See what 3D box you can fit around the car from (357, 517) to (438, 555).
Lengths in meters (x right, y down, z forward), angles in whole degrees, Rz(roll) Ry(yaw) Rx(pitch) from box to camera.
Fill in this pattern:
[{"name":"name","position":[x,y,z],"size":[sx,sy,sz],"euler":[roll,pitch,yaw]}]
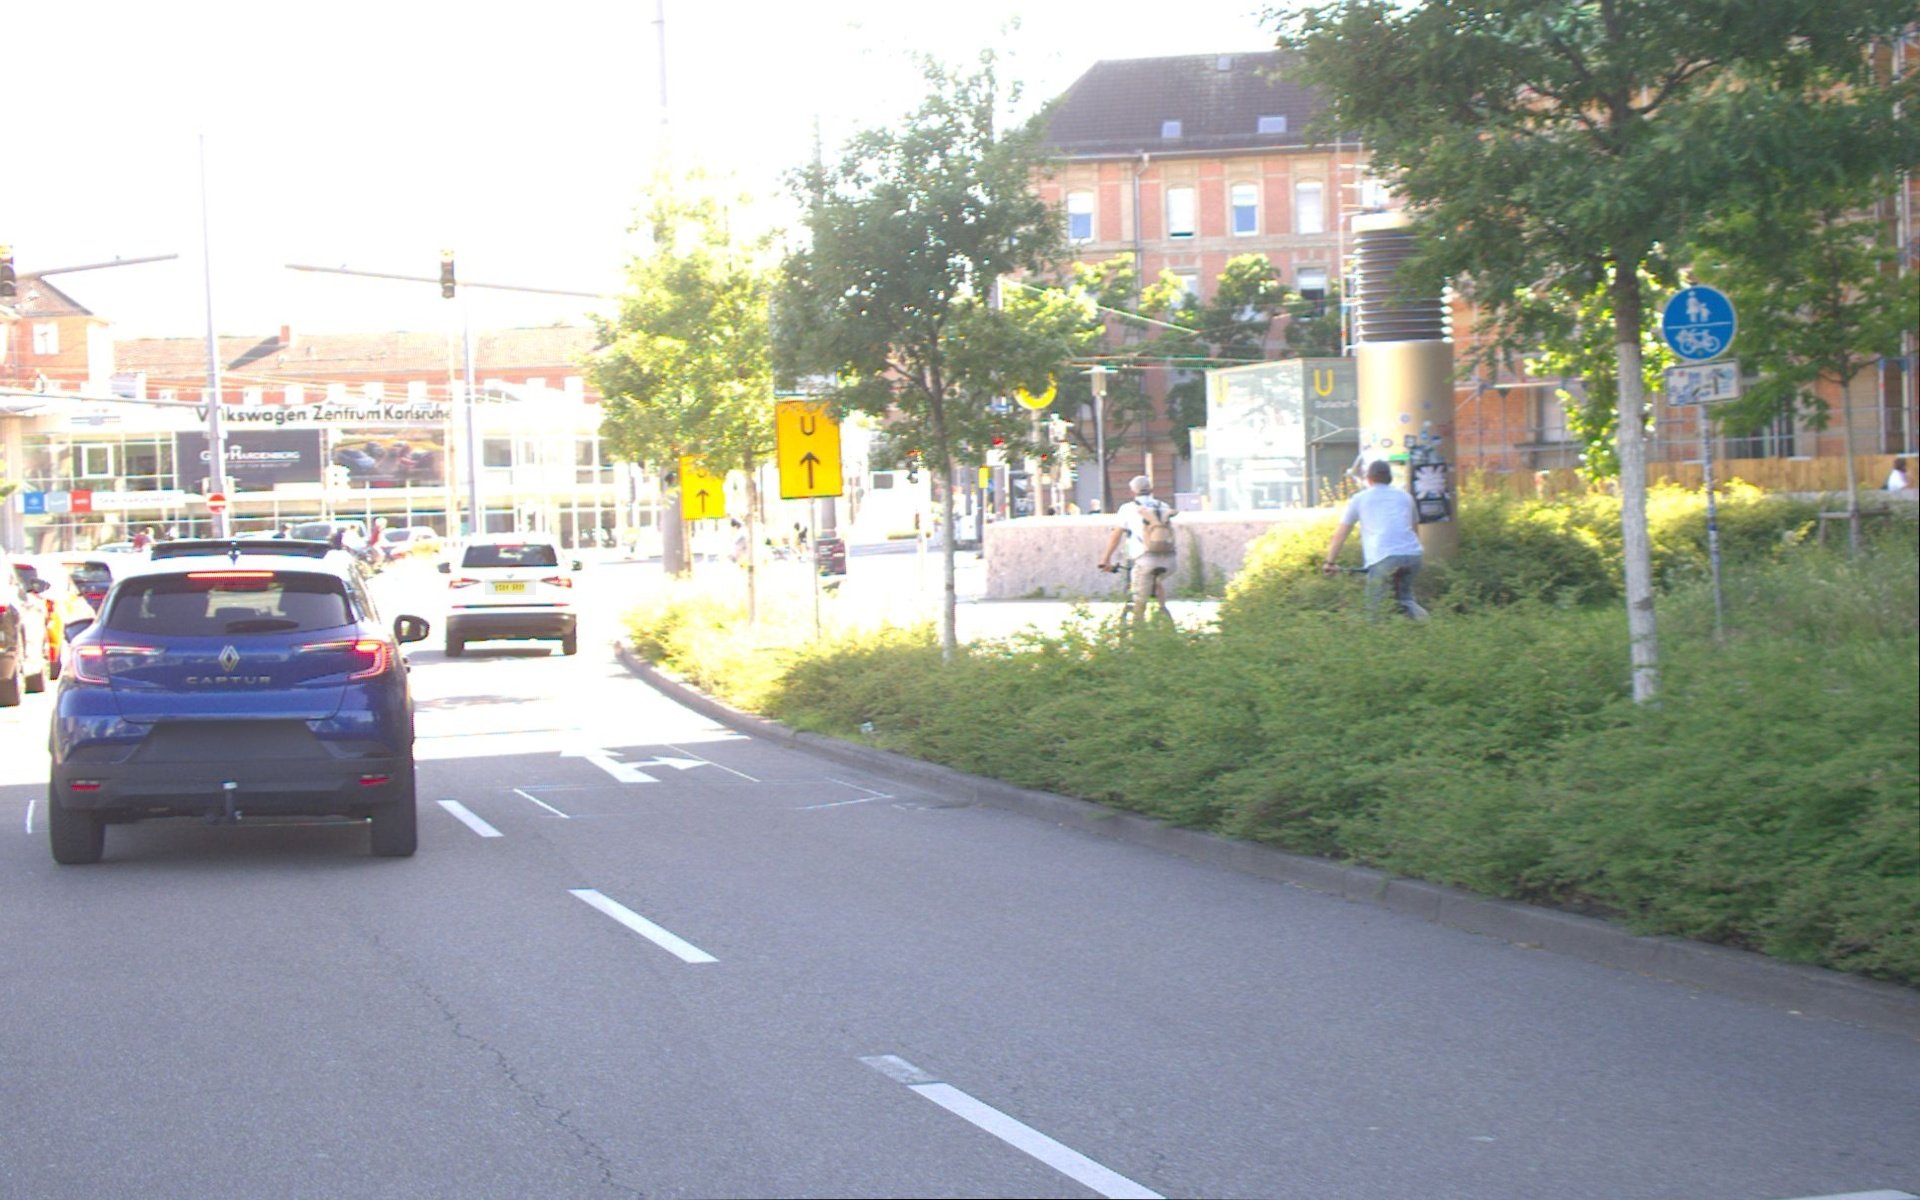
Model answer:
[{"name":"car","position":[-21.819,-2.476,133.448],"size":[1.726,1.437,4.182],"euler":[1,1,11]}]

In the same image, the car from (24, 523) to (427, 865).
[{"name":"car","position":[-3.847,0.449,18.297],"size":[1.876,1.612,3.798],"euler":[0,0,-10]}]

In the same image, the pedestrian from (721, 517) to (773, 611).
[{"name":"pedestrian","position":[-3.945,-0.653,63.671],"size":[0.595,1.717,0.869],"euler":[-2,-1,25]}]

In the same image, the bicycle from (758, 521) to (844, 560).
[{"name":"bicycle","position":[-5.239,-1.970,113.384],"size":[2.646,1.184,0.948],"euler":[-2,4,-24]}]

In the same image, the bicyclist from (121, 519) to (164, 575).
[{"name":"bicyclist","position":[-24.082,-1.568,101.261],"size":[1.062,1.578,0.948],"euler":[-2,4,-24]}]

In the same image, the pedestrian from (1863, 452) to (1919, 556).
[{"name":"pedestrian","position":[15.994,-1.655,59.029],"size":[0.537,1.746,0.789],"euler":[-3,4,-34]}]

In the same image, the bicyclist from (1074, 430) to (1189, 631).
[{"name":"bicyclist","position":[1.537,-0.630,30.927],"size":[0.719,1.756,0.978],"euler":[-2,2,-15]}]

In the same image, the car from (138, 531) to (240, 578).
[{"name":"car","position":[-25.497,-1.518,113.803],"size":[1.726,1.437,4.182],"euler":[-1,1,11]}]

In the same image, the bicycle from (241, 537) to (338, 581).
[{"name":"bicycle","position":[-19.809,-1.231,101.554],"size":[2.646,1.184,0.947],"euler":[-3,4,-32]}]

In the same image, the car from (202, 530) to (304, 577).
[{"name":"car","position":[-23.005,-1.529,112.026],"size":[1.726,1.437,4.182],"euler":[-1,1,11]}]

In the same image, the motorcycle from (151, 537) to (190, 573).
[{"name":"motorcycle","position":[-24.590,-1.412,107.106],"size":[0.562,1.090,1.835],"euler":[-1,1,7]}]

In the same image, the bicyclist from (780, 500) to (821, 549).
[{"name":"bicyclist","position":[-5.263,-2.495,113.335],"size":[1.062,1.578,0.948],"euler":[-2,4,-24]}]

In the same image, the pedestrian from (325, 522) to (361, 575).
[{"name":"pedestrian","position":[-19.142,-1.597,106.696],"size":[0.702,1.605,0.851],"euler":[1,4,28]}]

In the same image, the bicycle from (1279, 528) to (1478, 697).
[{"name":"bicycle","position":[3.033,0.067,25.104],"size":[0.716,1.161,1.871],"euler":[-2,2,-17]}]

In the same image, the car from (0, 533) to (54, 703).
[{"name":"car","position":[-10.302,0.133,34.714],"size":[1.983,1.618,4.379],"euler":[0,1,-12]}]

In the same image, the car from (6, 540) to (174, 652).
[{"name":"car","position":[-11.836,-0.083,46.979],"size":[1.724,1.437,3.800],"euler":[1,1,-7]}]

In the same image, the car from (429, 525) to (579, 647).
[{"name":"car","position":[-6.238,-0.219,47.365],"size":[1.876,1.612,3.626],"euler":[0,1,-5]}]

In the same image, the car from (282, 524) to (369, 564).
[{"name":"car","position":[-23.295,-2.057,126.277],"size":[1.726,1.437,4.182],"euler":[1,1,11]}]

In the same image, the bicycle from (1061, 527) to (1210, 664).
[{"name":"bicycle","position":[1.558,-0.062,30.914],"size":[0.745,1.161,1.871],"euler":[-2,2,-16]}]

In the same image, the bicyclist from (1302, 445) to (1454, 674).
[{"name":"bicyclist","position":[3.039,-0.302,25.058],"size":[0.719,1.611,0.978],"euler":[-2,2,-17]}]

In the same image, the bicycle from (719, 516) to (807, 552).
[{"name":"bicycle","position":[-6.235,-2.096,108.871],"size":[2.642,1.091,0.969],"euler":[-2,1,-12]}]

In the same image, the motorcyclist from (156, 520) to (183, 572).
[{"name":"motorcyclist","position":[-24.605,-1.682,107.026],"size":[0.549,1.615,0.744],"euler":[-1,1,7]}]

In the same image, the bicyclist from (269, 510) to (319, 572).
[{"name":"bicyclist","position":[-19.686,-1.763,101.618],"size":[1.184,1.770,0.947],"euler":[-2,4,-32]}]

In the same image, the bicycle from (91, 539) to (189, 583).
[{"name":"bicycle","position":[-24.149,-1.160,101.244],"size":[2.646,1.184,0.948],"euler":[-2,4,-24]}]

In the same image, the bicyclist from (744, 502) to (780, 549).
[{"name":"bicyclist","position":[-6.274,-2.362,108.856],"size":[0.962,1.444,0.969],"euler":[-2,1,-12]}]

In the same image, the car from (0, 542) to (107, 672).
[{"name":"car","position":[-11.210,0.044,40.707],"size":[1.671,1.437,3.722],"euler":[1,1,-7]}]
